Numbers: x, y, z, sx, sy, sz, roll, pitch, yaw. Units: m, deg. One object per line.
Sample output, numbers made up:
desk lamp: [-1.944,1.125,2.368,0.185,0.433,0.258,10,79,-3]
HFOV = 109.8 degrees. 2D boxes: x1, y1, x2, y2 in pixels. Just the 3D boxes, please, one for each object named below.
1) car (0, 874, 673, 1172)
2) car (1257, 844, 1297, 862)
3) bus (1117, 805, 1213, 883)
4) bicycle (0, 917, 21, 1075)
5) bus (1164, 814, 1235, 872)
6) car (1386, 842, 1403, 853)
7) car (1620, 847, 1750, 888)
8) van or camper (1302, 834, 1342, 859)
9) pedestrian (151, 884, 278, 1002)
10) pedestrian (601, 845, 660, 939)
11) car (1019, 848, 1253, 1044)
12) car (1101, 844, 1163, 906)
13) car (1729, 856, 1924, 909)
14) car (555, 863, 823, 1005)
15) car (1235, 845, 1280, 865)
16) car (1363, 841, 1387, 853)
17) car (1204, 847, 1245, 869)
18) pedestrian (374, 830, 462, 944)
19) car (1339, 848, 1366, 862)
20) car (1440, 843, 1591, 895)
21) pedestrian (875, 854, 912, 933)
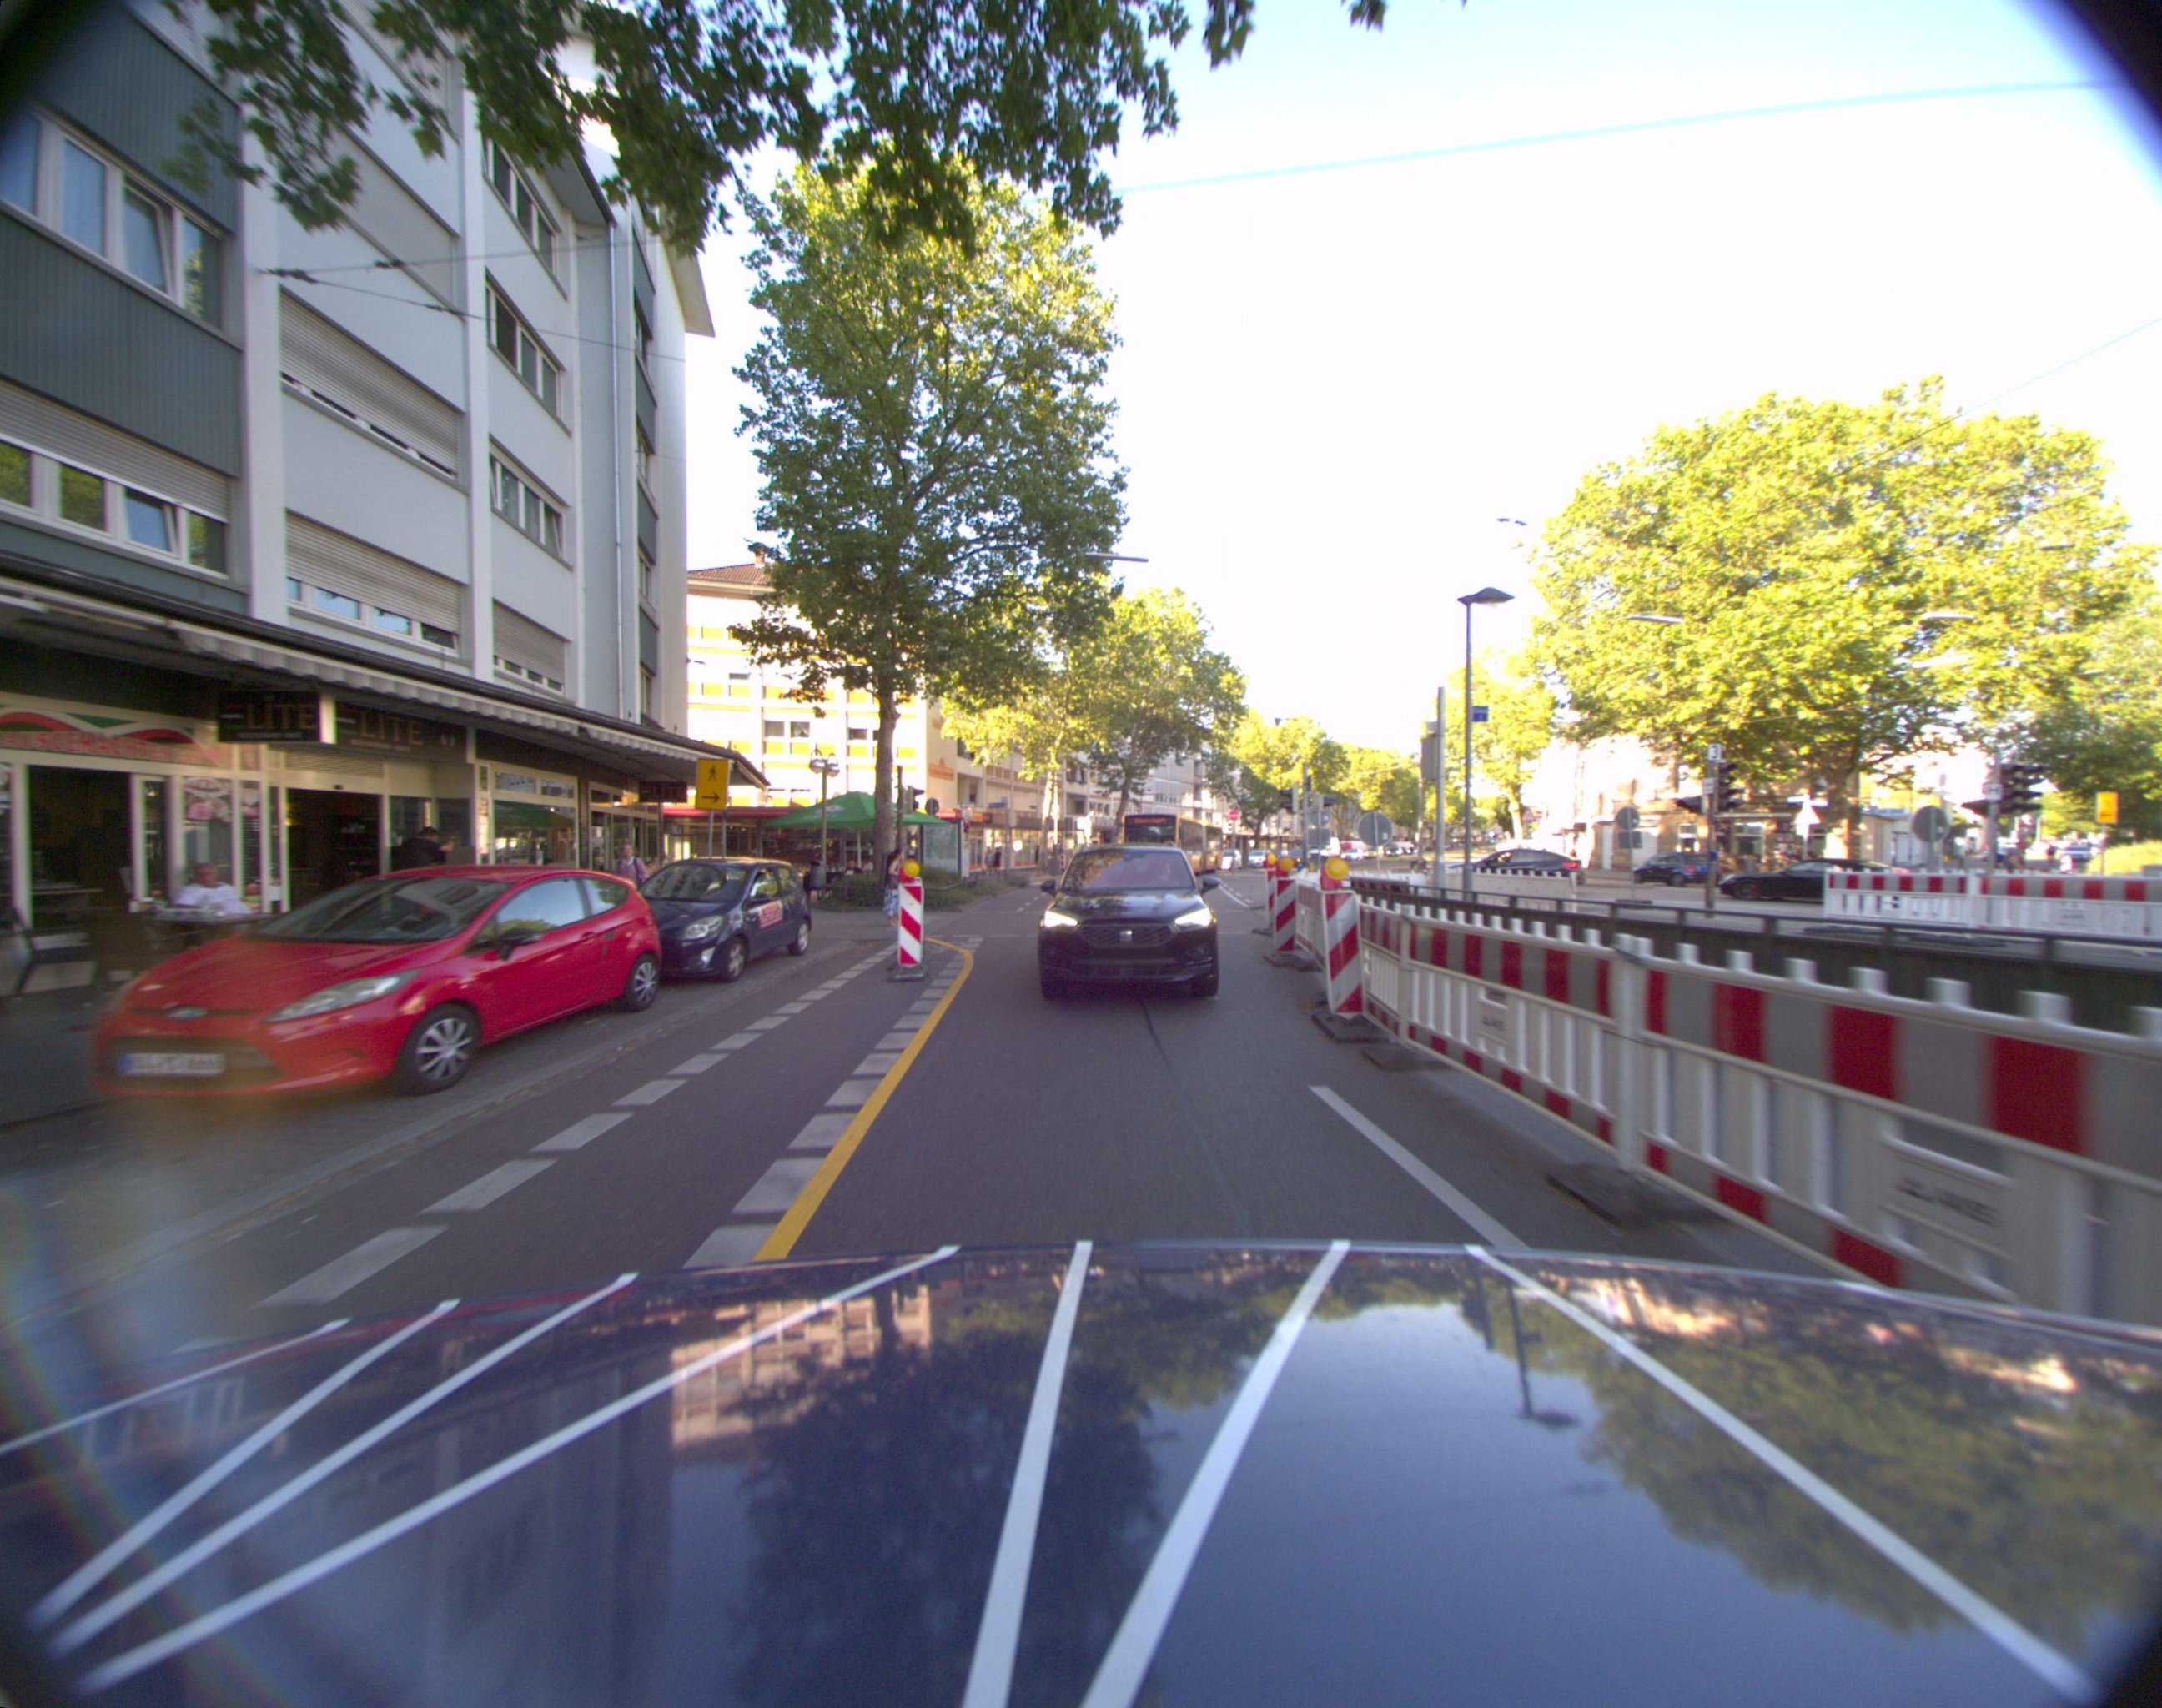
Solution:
car: [-5.092,0.955,6.017,1.735,1.434,3.982,1,0,-3]
car: [17.842,-0.140,69.159,1.994,1.587,4.571,0,1,36]
bus: [4.527,-0.466,37.879,2.735,3.188,12.320,-2,0,15]
bicycle: [-7.940,0.999,4.280,0.778,1.097,2.267,2,1,-1]
bus: [7.907,-0.683,49.075,2.734,3.188,12.377,-2,0,17]
car: [46.813,-1.000,113.417,1.702,1.578,3.713,0,1,32]
car: [24.621,0.516,31.068,3.985,1.456,1.890,3,1,40]
van or camper: [25.264,-0.826,79.616,2.285,2.524,5.506,0,1,37]
pedestrian: [-9.123,0.913,8.022,0.601,1.141,0.624,3,1,1]
pedestrian: [-7.663,0.633,12.936,0.584,1.551,0.642,2,1,2]
car: [0.438,0.786,8.712,1.999,1.638,4.203,-2,1,-1]
car: [1.472,0.537,21.723,1.610,1.618,3.679,-1,1,4]
car: [21.091,0.735,21.650,1.614,1.262,3.668,0,2,-33]
car: [-4.963,0.909,10.269,1.659,1.471,3.800,1,0,0]
car: [14.716,0.047,63.195,1.994,1.587,4.571,0,1,36]
car: [38.384,-0.958,99.280,1.994,1.587,4.008,0,1,36]
car: [10.983,0.250,57.857,1.995,1.587,4.569,0,1,25]
pedestrian: [-10.176,0.489,11.685,0.710,1.699,0.678,0,1,1]
car: [31.825,0.128,89.118,1.994,1.587,4.008,0,1,36]
car: [15.706,0.507,27.598,4.424,1.638,2.005,3,1,40]
pedestrian: [-3.800,0.790,15.426,0.623,1.551,0.471,-1,1,-1]
